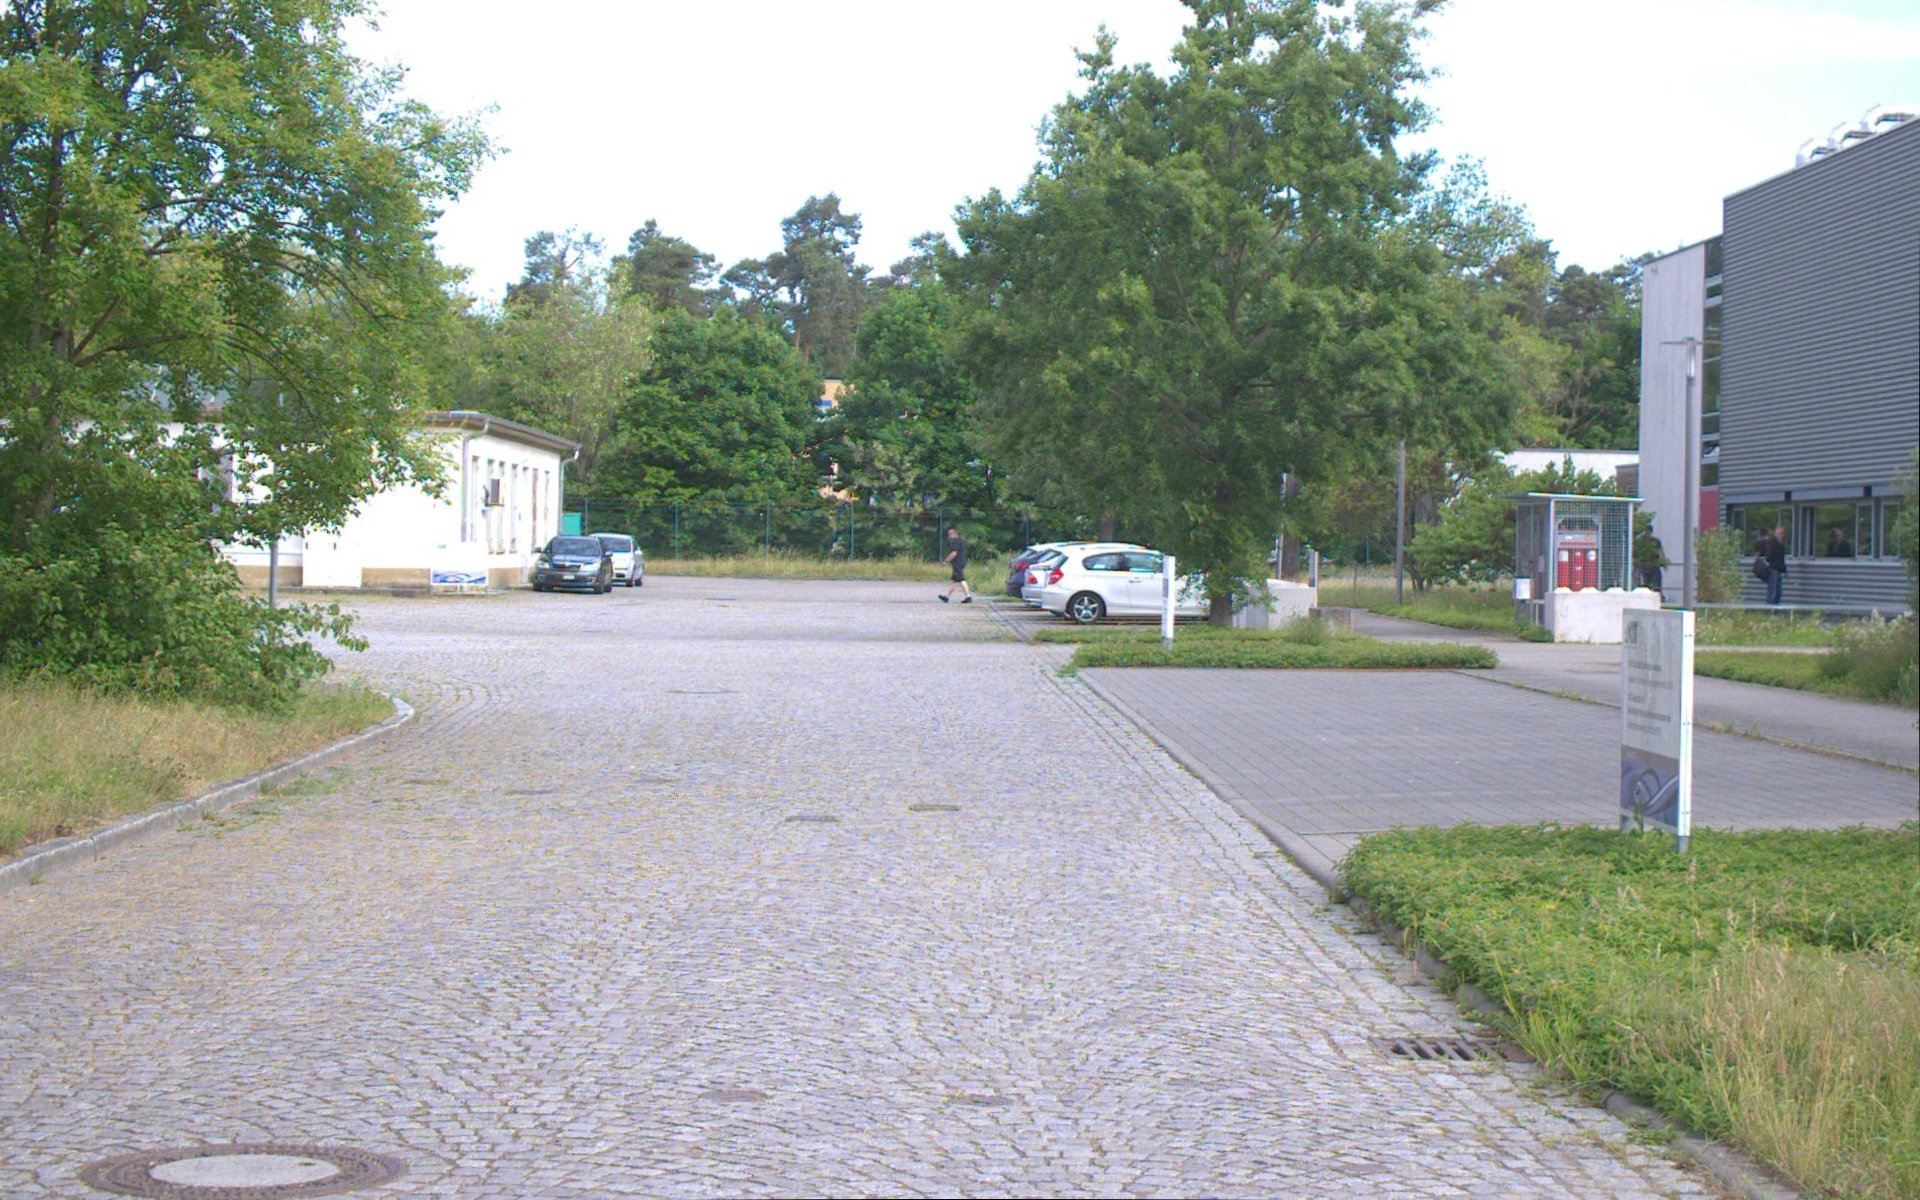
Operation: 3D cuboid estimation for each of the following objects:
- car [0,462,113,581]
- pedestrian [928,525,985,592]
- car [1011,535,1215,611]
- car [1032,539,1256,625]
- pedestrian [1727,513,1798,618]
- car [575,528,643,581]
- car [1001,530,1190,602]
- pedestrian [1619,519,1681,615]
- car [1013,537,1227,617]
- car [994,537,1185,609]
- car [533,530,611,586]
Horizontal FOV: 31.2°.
[{"bbox_3d":[-20.501,-1.723,75.889,1.994,2.515,5.617,1,1,2],"label":"car"},{"bbox_3d":[-0.086,-0.980,81.704,0.940,1.563,0.971,0,1,-37],"label":"pedestrian"},{"bbox_3d":[3.045,-0.551,69.032,3.987,1.450,1.770,1,1,-1],"label":"car"},{"bbox_3d":[3.391,-0.341,63.829,3.987,1.450,2.000,2,0,-1],"label":"car"},{"bbox_3d":[15.014,-0.644,64.337,0.917,1.930,0.855,1,1,-31],"label":"pedestrian"},{"bbox_3d":[-9.970,-1.294,97.858,1.748,1.449,4.001,1,1,-3],"label":"car"},{"bbox_3d":[3.020,-0.765,77.150,3.986,1.528,2.000,1,1,-5],"label":"car"},{"bbox_3d":[14.557,-0.698,72.562,0.920,2.007,1.147,1,1,-7],"label":"pedestrian"},{"bbox_3d":[3.051,-0.449,65.993,3.987,1.450,1.697,1,1,-1],"label":"car"},{"bbox_3d":[2.760,-0.589,73.933,3.987,1.450,1.770,1,1,-1],"label":"car"},{"bbox_3d":[-9.870,-1.086,87.628,1.748,1.359,4.001,1,1,-3],"label":"car"}]
